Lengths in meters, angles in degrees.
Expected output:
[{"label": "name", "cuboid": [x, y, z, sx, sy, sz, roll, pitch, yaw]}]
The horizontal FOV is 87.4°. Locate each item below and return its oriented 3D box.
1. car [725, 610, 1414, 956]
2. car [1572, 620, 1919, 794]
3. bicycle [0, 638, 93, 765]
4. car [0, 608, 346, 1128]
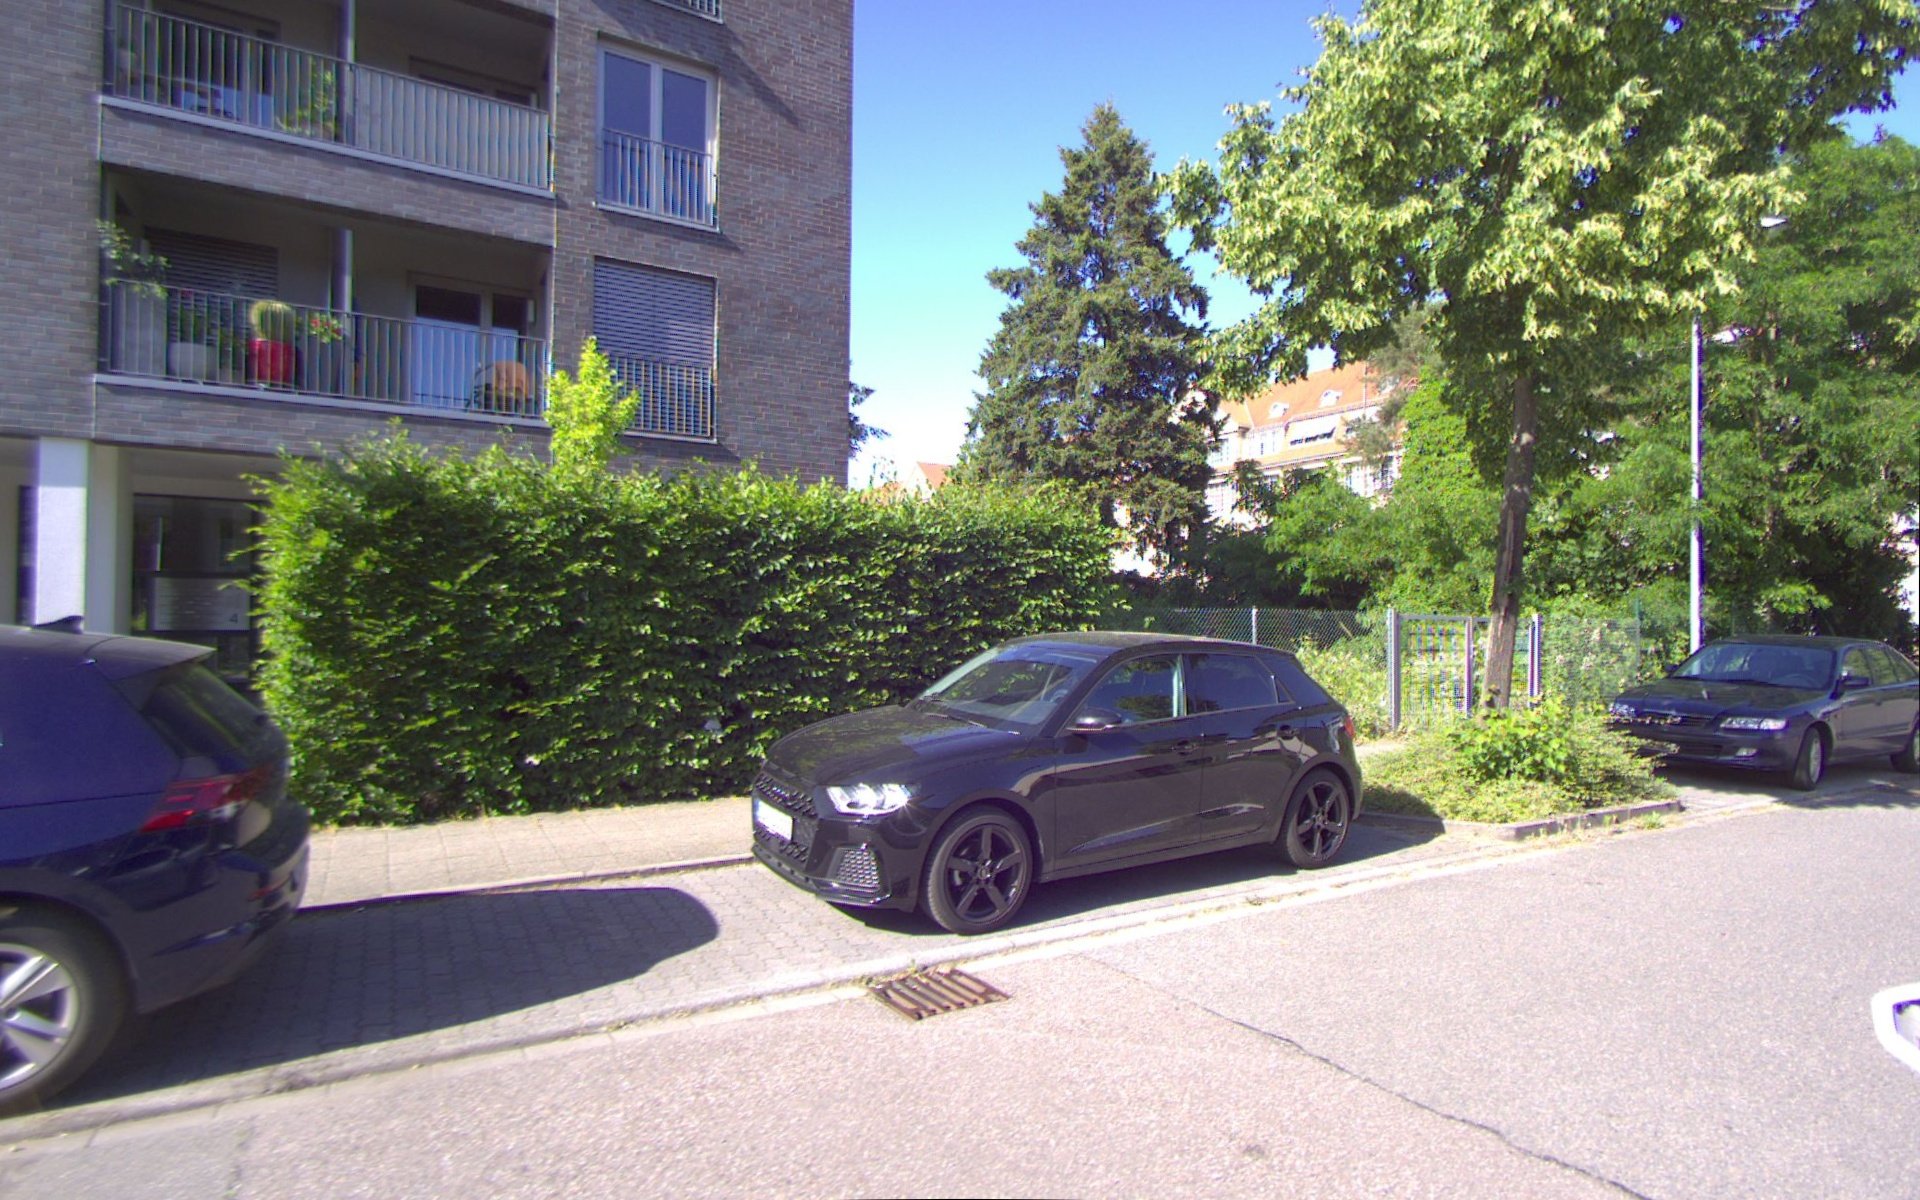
[{"label": "car", "cuboid": [0.759, 0.862, 6.280, 3.980, 1.493, 1.831, 1, 0, -31]}, {"label": "car", "cuboid": [8.781, 1.019, 10.905, 4.309, 1.493, 1.831, 1, 0, -31]}, {"label": "bicycle", "cuboid": [-8.794, 0.873, 8.681, 1.853, 1.089, 0.637, 1, -1, -31]}, {"label": "car", "cuboid": [-4.336, 0.780, 3.138, 4.052, 1.493, 1.831, 1, 0, -31]}]
